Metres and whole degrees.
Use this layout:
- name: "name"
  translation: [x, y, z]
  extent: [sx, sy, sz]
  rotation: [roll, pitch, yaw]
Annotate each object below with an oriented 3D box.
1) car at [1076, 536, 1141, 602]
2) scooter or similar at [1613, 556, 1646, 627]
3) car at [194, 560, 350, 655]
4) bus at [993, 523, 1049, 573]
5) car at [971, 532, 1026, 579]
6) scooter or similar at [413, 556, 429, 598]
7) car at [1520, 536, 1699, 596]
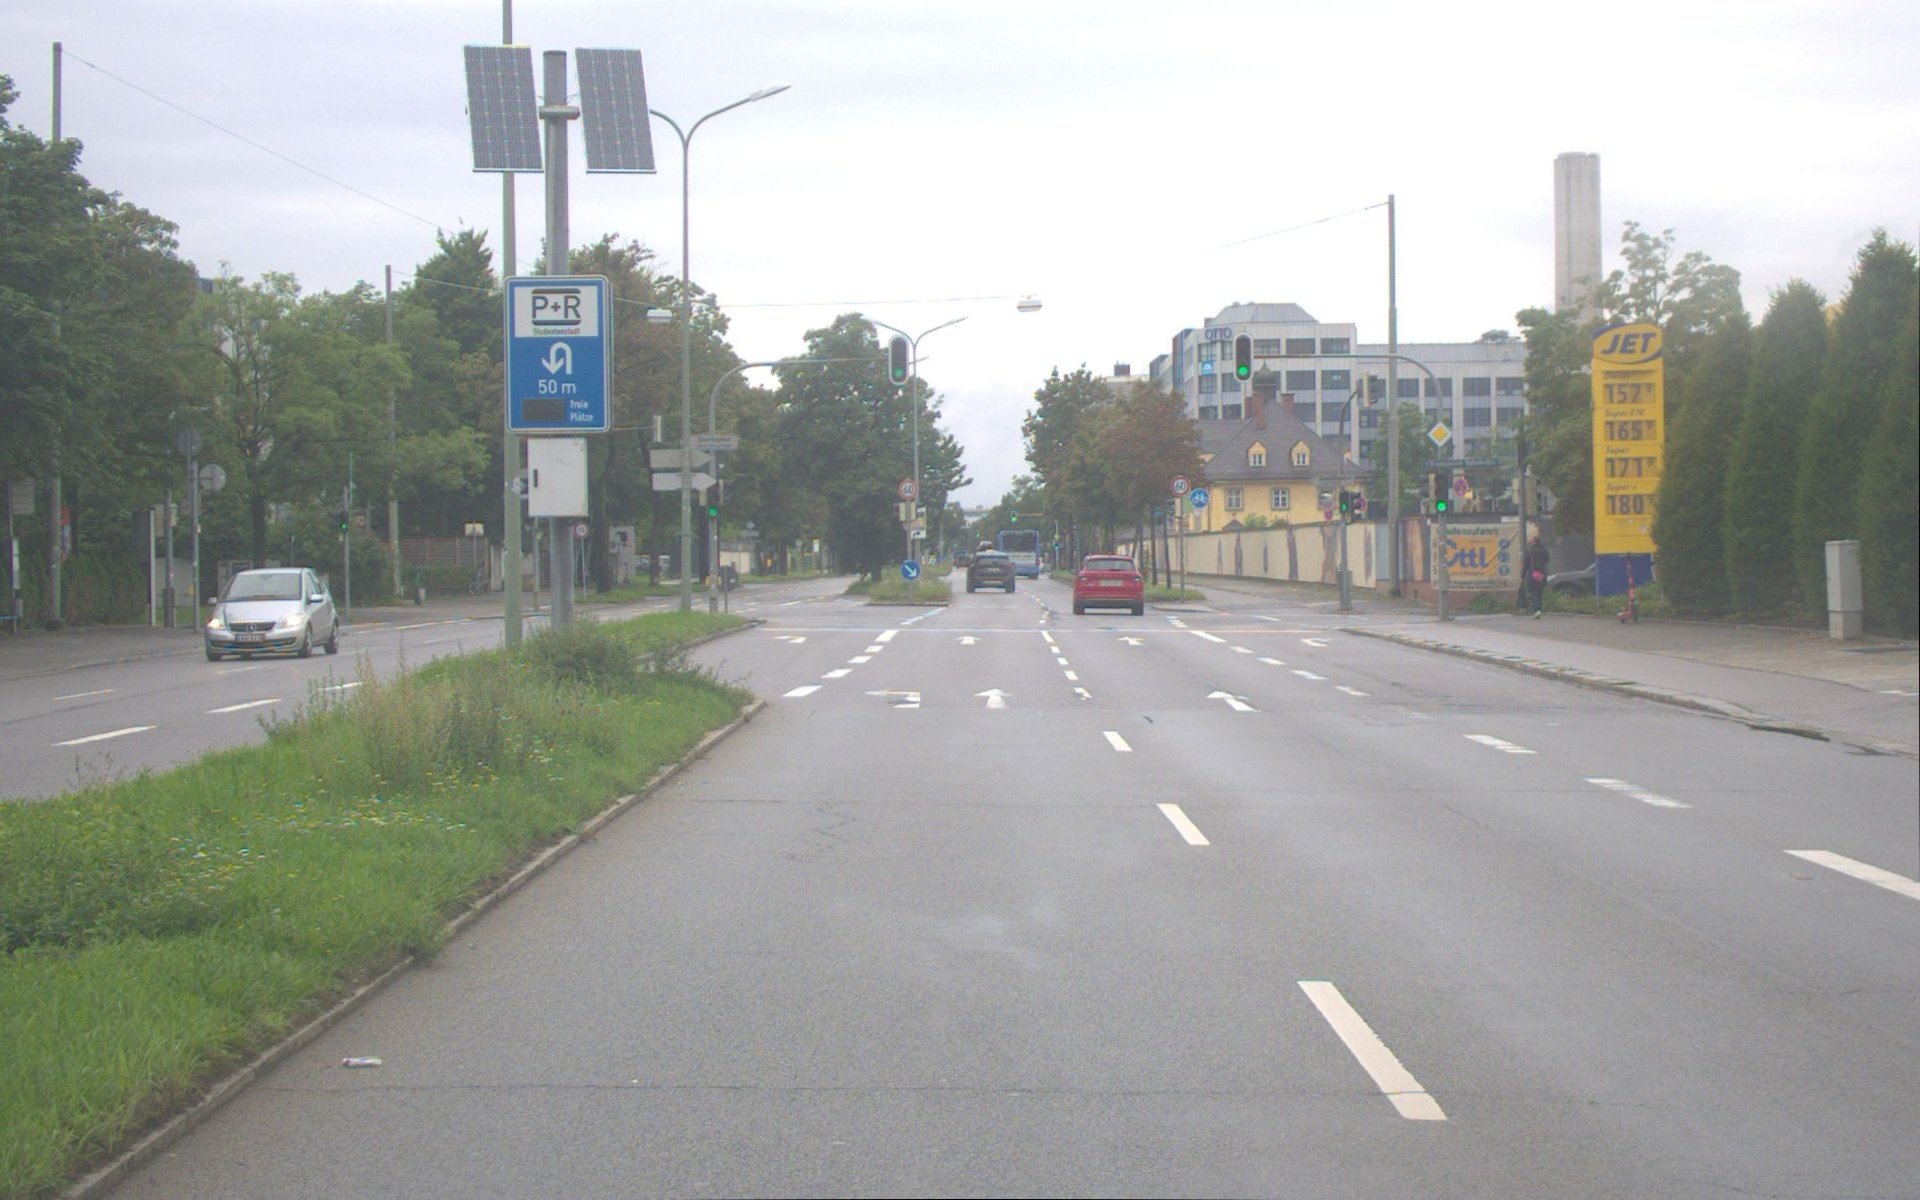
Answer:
- name: "car"
  translation: [3.911, -0.823, 90.833]
  extent: [1.484, 1.710, 3.551]
  rotation: [0, 1, -1]
- name: "scooter or similar"
  translation: [12.006, -0.163, 61.695]
  extent: [0.356, 1.238, 1.545]
  rotation: [-3, 0, 5]
- name: "car"
  translation: [-12.121, 0.110, 60.760]
  extent: [1.814, 1.552, 4.026]
  rotation: [-2, 1, 1]
- name: "bus"
  translation: [3.892, -3.371, 222.037]
  extent: [3.220, 3.116, 10.346]
  rotation: [0, 1, -1]
- name: "car"
  translation: [1.543, -1.808, 139.924]
  extent: [2.084, 1.859, 4.386]
  rotation: [0, 1, -1]
- name: "scooter or similar"
  translation: [-18.260, -0.780, 116.413]
  extent: [0.370, 1.419, 1.406]
  rotation: [0, 1, -15]
- name: "car"
  translation: [16.549, -0.870, 87.744]
  extent: [4.251, 1.423, 2.000]
  rotation: [-1, 1, 3]
